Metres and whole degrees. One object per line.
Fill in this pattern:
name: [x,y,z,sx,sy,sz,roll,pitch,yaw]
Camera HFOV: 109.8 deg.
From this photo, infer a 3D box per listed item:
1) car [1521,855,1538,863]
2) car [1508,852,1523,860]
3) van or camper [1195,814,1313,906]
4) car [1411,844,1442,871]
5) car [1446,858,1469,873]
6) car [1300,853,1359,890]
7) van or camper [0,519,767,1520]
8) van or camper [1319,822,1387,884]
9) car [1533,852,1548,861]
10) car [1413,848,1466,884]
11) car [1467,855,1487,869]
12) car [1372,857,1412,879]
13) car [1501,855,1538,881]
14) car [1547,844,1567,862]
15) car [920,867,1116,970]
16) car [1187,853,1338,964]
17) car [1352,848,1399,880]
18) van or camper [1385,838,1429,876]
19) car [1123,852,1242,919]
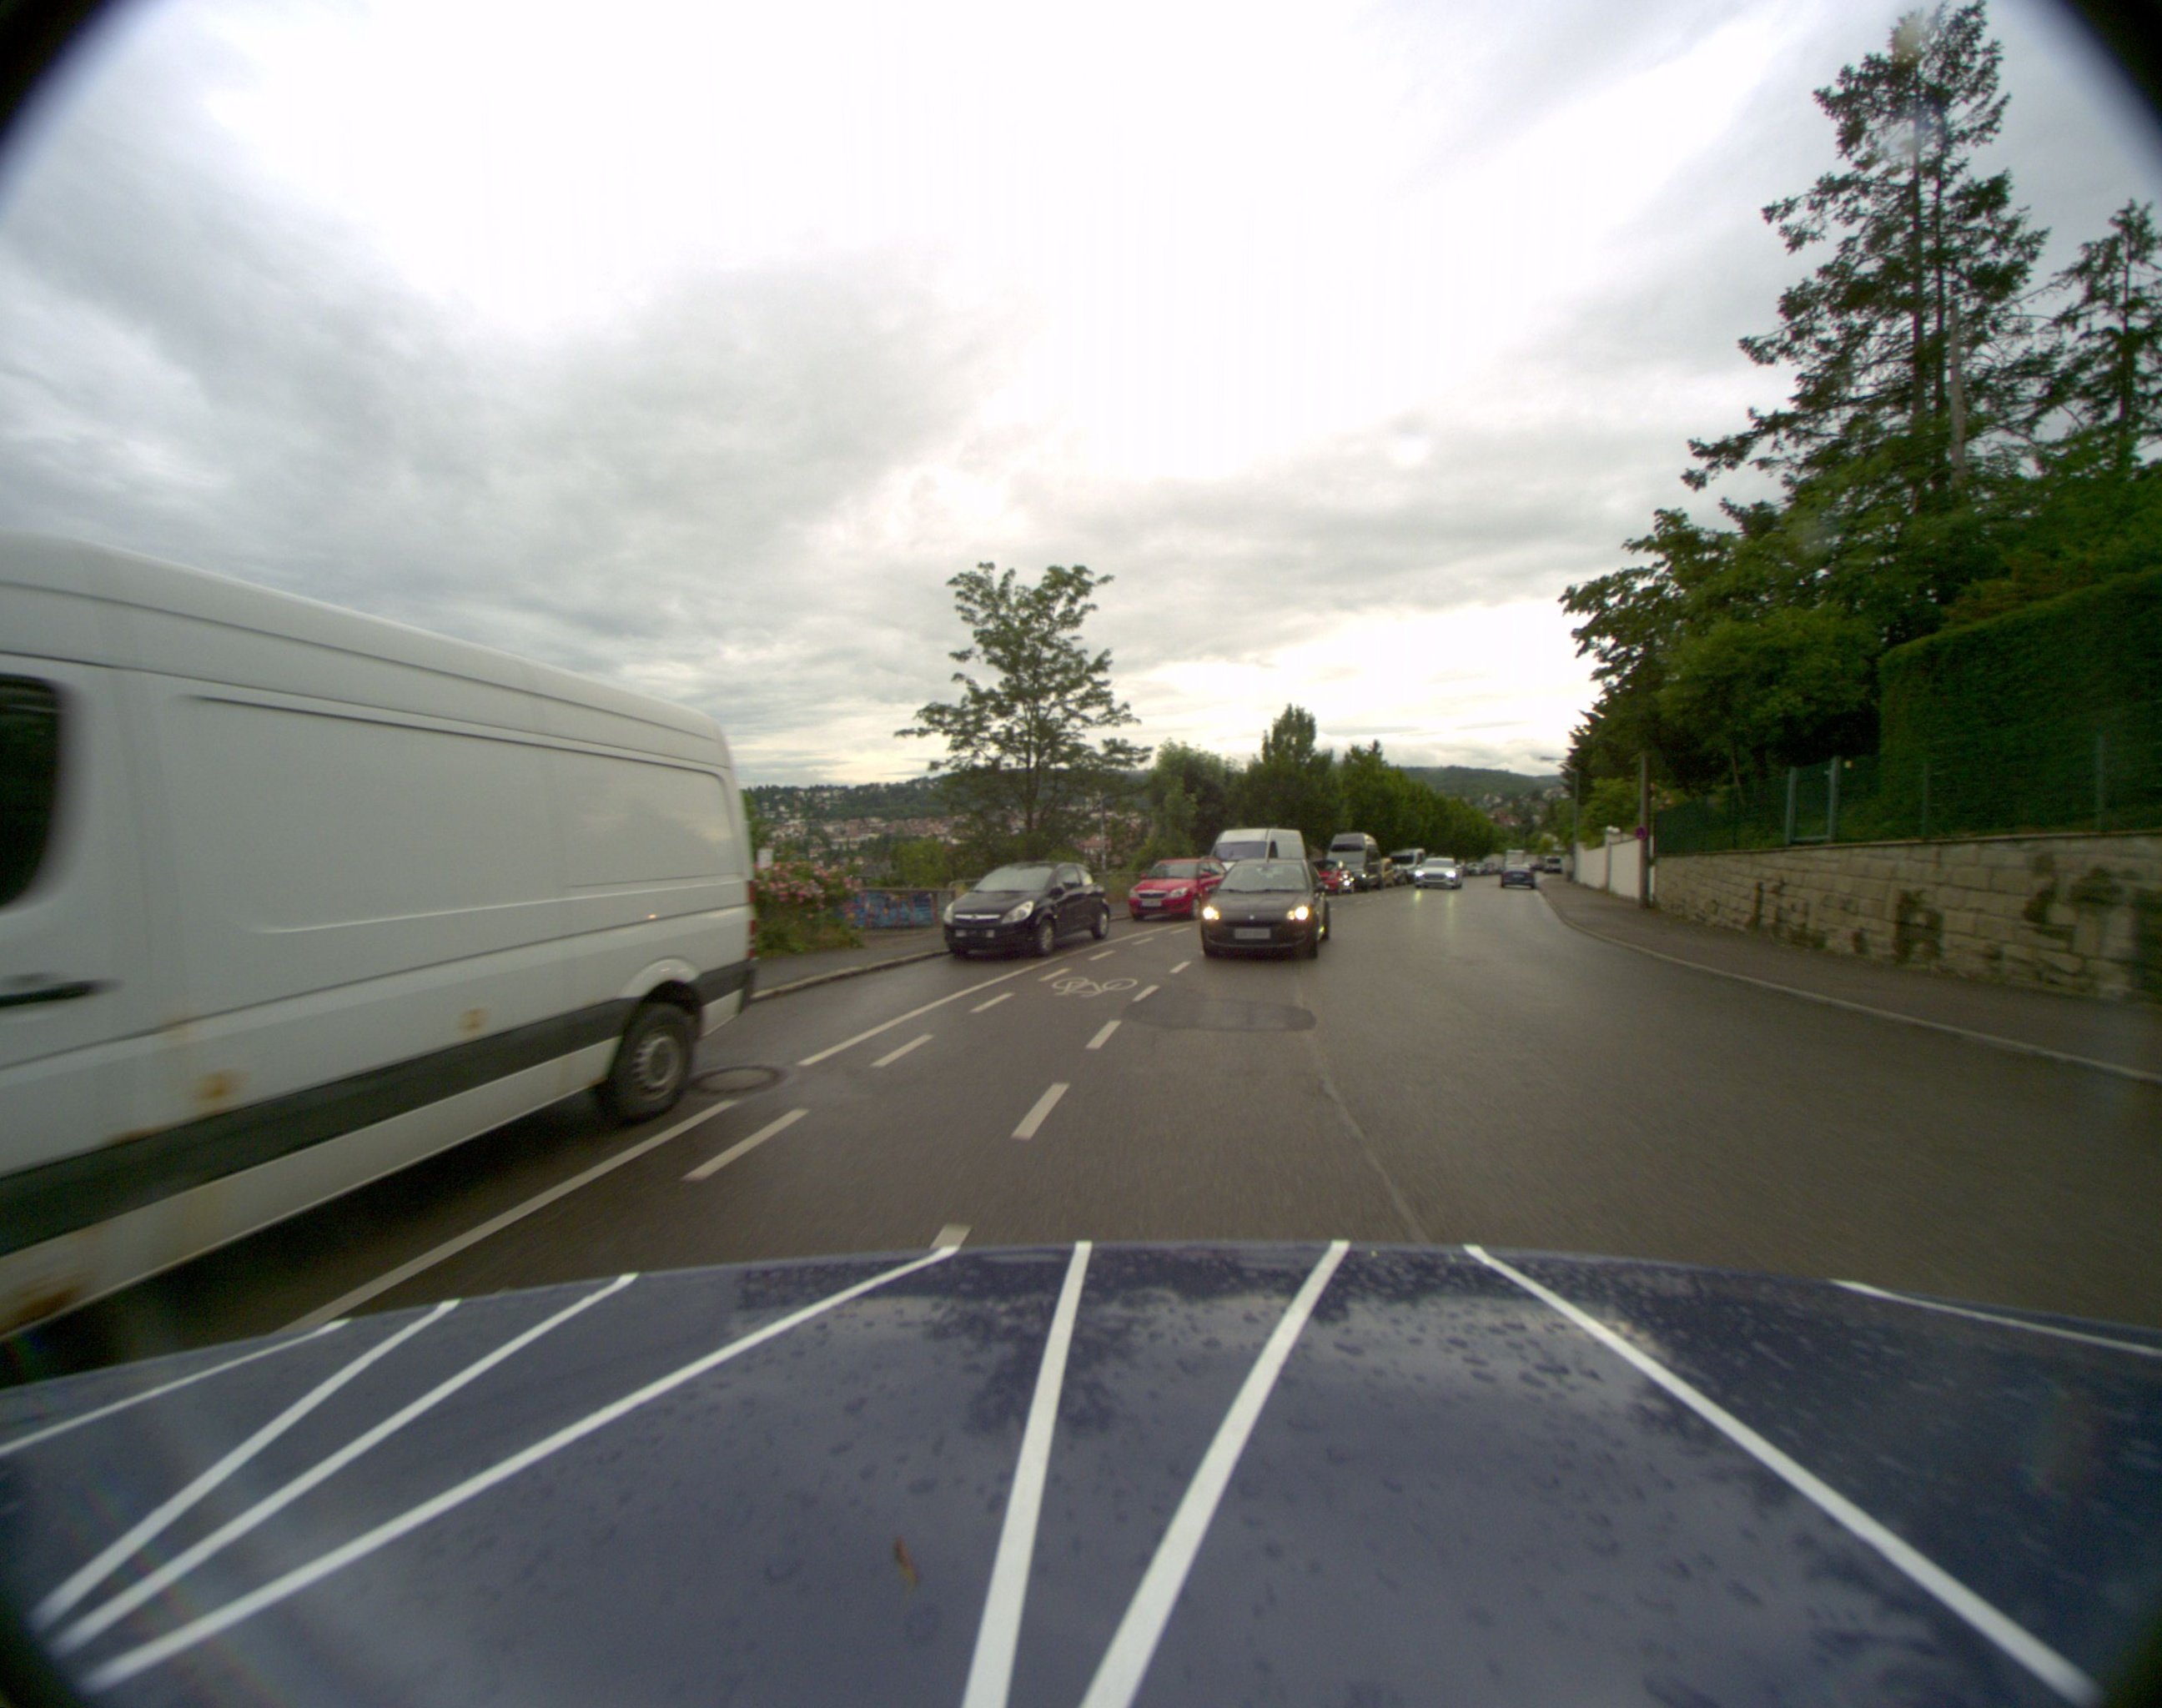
car: [80.586,0.897,136.457,1.848,1.489,3.773,1,1,18]
car: [84.642,0.448,148.118,1.848,1.488,3.773,0,0,18]
van or camper: [5.801,0.201,24.778,2.075,2.645,5.607,-1,-1,31]
car: [28.046,0.314,61.613,1.721,2.125,4.412,-2,-1,32]
car: [40.402,1.216,81.449,1.721,1.494,4.209,-2,-1,32]
car: [10.936,0.754,33.281,1.683,1.531,3.841,0,-1,31]
van or camper: [-3.704,0.420,2.773,2.070,2.565,5.891,1,0,7]
van or camper: [13.784,-0.018,38.287,2.125,2.892,5.739,-1,-1,31]
car: [78.326,0.341,129.503,1.847,1.489,3.774,0,0,25]
car: [19.002,0.568,40.167,2.187,1.698,4.891,0,1,29]
car: [46.886,0.966,89.983,1.721,1.618,4.412,-2,-1,32]
car: [20.087,0.895,48.998,1.722,1.366,4.412,-2,-1,30]
car: [26.338,0.802,45.612,1.808,1.422,4.263,2,1,30]
car: [66.684,-0.160,106.405,2.105,2.468,4.574,2,1,35]
car: [-0.876,0.990,13.018,1.697,1.435,3.954,-2,-1,22]
car: [3.170,0.740,12.535,1.781,1.477,4.412,0,0,22]
car: [17.098,0.602,44.003,1.721,1.738,4.412,-2,-1,32]
van or camper: [23.519,0.246,54.670,2.166,2.539,5.627,-2,-1,31]
car: [2.721,0.747,19.529,1.621,1.531,4.223,-1,-1,29]
